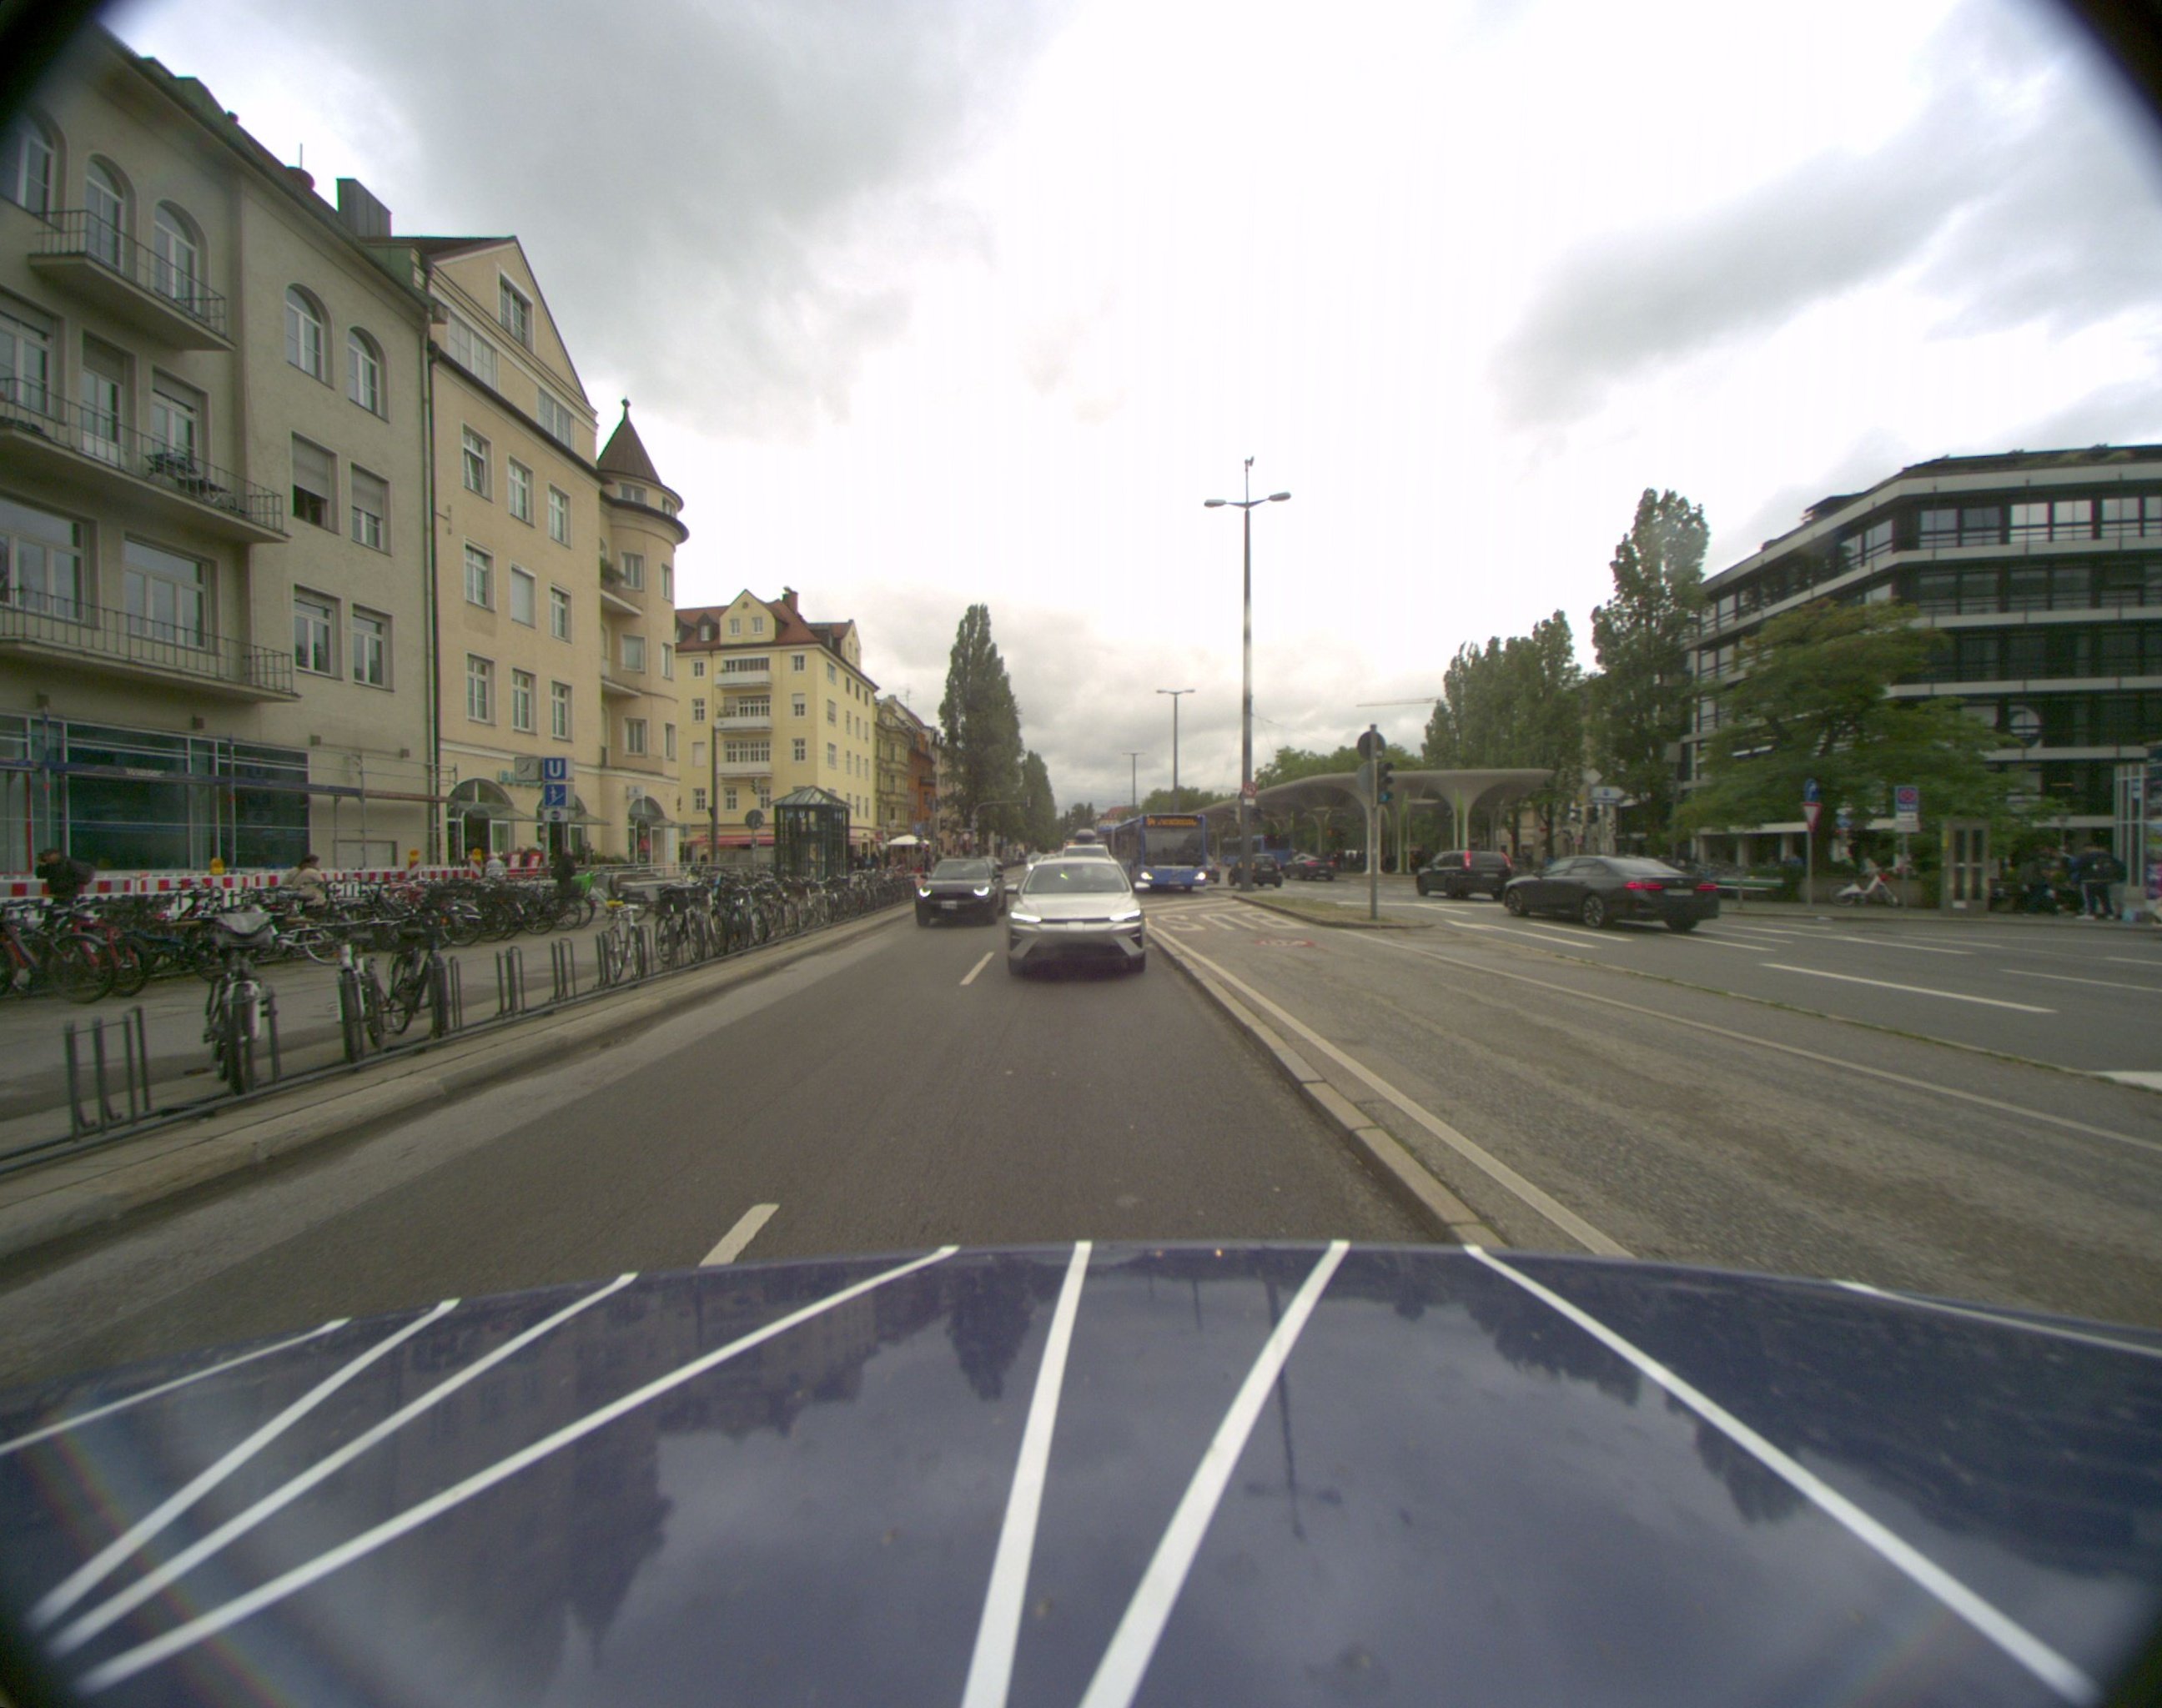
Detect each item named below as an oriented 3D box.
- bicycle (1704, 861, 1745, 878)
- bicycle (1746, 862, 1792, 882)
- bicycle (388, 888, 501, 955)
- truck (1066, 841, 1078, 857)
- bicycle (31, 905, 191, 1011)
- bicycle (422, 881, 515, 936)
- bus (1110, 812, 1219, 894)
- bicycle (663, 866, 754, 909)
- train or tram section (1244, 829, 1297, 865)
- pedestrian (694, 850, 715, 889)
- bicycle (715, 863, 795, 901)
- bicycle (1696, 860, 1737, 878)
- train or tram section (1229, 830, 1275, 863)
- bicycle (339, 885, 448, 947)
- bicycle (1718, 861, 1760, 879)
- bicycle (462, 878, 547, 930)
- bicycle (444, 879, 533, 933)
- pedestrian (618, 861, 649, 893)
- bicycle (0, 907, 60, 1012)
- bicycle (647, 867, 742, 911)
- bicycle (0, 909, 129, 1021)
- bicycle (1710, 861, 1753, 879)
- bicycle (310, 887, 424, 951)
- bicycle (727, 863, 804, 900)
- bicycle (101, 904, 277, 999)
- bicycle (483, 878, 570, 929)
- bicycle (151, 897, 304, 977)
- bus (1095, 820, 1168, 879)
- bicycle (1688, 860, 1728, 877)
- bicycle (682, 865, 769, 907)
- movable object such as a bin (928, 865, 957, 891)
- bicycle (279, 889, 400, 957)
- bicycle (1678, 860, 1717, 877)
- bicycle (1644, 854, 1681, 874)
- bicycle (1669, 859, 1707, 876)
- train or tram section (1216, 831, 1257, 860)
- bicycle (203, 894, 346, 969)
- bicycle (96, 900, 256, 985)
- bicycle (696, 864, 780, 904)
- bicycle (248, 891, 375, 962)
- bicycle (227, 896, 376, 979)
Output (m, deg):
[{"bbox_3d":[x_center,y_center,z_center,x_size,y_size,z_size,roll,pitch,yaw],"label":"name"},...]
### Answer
[{"bbox_3d":[41.370,0.987,48.868,2.073,1.127,0.561,0,1,6],"label":"bicycle"},{"bbox_3d":[40.902,1.070,45.201,2.073,1.127,0.561,0,1,6],"label":"bicycle"},{"bbox_3d":[-10.625,1.120,12.702,1.528,1.071,0.410,1,1,-1],"label":"bicycle"},{"bbox_3d":[-1.929,-1.210,169.712,2.540,3.468,7.751,0,0,1],"label":"truck"},{"bbox_3d":[-10.730,1.131,8.412,1.451,1.071,0.410,1,1,8],"label":"bicycle"},{"bbox_3d":[-12.174,1.079,15.122,1.452,1.071,0.410,1,1,-5],"label":"bicycle"},{"bbox_3d":[3.262,-0.133,33.280,2.942,2.927,11.208,-1,1,-3],"label":"bus"},{"bbox_3d":[-10.794,0.958,22.047,2.342,1.220,0.628,0,1,3],"label":"bicycle"},{"bbox_3d":[16.495,-0.602,66.715,2.840,2.983,7.406,0,1,0],"label":"train or tram section"},{"bbox_3d":[-16.852,0.679,33.994,0.565,1.691,0.591,0,2,10],"label":"pedestrian"},{"bbox_3d":[-10.633,0.902,24.825,2.330,1.220,0.628,0,1,3],"label":"bicycle"},{"bbox_3d":[41.398,0.975,49.487,2.073,1.127,0.561,0,1,6],"label":"bicycle"},{"bbox_3d":[16.543,-0.734,74.135,2.840,2.983,7.406,0,1,0],"label":"train or tram section"},{"bbox_3d":[-12.346,1.111,13.668,1.453,1.071,0.410,0,1,-8],"label":"bicycle"},{"bbox_3d":[41.263,1.013,47.652,2.073,1.127,0.561,0,1,6],"label":"bicycle"},{"bbox_3d":[-12.235,1.062,16.143,1.452,1.071,0.410,1,1,-5],"label":"bicycle"},{"bbox_3d":[-12.193,1.069,15.656,1.452,1.071,0.410,1,1,-5],"label":"bicycle"},{"bbox_3d":[-17.986,0.911,30.559,0.701,1.238,0.919,0,2,-1],"label":"pedestrian"},{"bbox_3d":[-12.312,1.142,8.247,1.634,1.097,0.410,0,1,-9],"label":"bicycle"},{"bbox_3d":[-10.848,0.973,21.368,2.367,1.220,0.628,0,1,3],"label":"bicycle"},{"bbox_3d":[-10.887,1.145,7.938,1.481,1.071,0.410,1,1,5],"label":"bicycle"},{"bbox_3d":[41.306,1.001,48.256,2.073,1.127,0.561,0,1,6],"label":"bicycle"},{"bbox_3d":[-12.353,1.120,13.174,1.453,1.071,0.410,0,1,-8],"label":"bicycle"},{"bbox_3d":[-10.603,0.906,25.580,2.317,1.220,0.628,0,1,3],"label":"bicycle"},{"bbox_3d":[-10.683,1.152,9.131,1.453,1.071,0.410,0,1,-8],"label":"bicycle"},{"bbox_3d":[-12.239,1.089,16.775,1.650,1.071,0.410,1,1,3],"label":"bicycle"},{"bbox_3d":[-12.039,1.154,10.744,1.536,1.071,0.410,0,1,-7],"label":"bicycle"},{"bbox_3d":[2.681,-0.316,44.378,2.942,2.927,11.208,-1,1,-3],"label":"bus"},{"bbox_3d":[41.417,0.961,50.224,2.073,1.127,0.561,0,1,6],"label":"bicycle"},{"bbox_3d":[-10.643,0.941,22.760,2.317,1.220,0.628,0,1,3],"label":"bicycle"},{"bbox_3d":[-5.939,1.046,32.675,1.089,1.056,0.747,1,2,-2],"label":"movable object such as a bin"},{"bbox_3d":[-12.230,1.127,12.559,1.453,1.071,0.410,0,1,-8],"label":"bicycle"},{"bbox_3d":[41.435,0.945,51.065,2.073,1.127,0.561,0,1,6],"label":"bicycle"},{"bbox_3d":[34.118,0.577,44.616,0.473,1.091,1.672,-1,1,-24],"label":"bicycle"},{"bbox_3d":[41.454,0.929,51.902,2.073,1.127,0.561,0,1,6],"label":"bicycle"},{"bbox_3d":[16.590,-0.870,81.555,2.840,2.983,7.406,0,1,0],"label":"train or tram section"},{"bbox_3d":[-12.012,1.143,11.342,1.536,1.071,0.410,0,1,-7],"label":"bicycle"},{"bbox_3d":[-12.038,1.166,10.133,1.453,1.071,0.410,0,1,-8],"label":"bicycle"},{"bbox_3d":[-10.678,0.924,23.696,2.342,1.220,0.628,0,1,3],"label":"bicycle"},{"bbox_3d":[-12.125,1.134,11.999,1.453,1.071,0.410,0,1,-8],"label":"bicycle"},{"bbox_3d":[-10.580,1.127,10.345,1.453,1.071,0.410,0,1,-8],"label":"bicycle"}]
